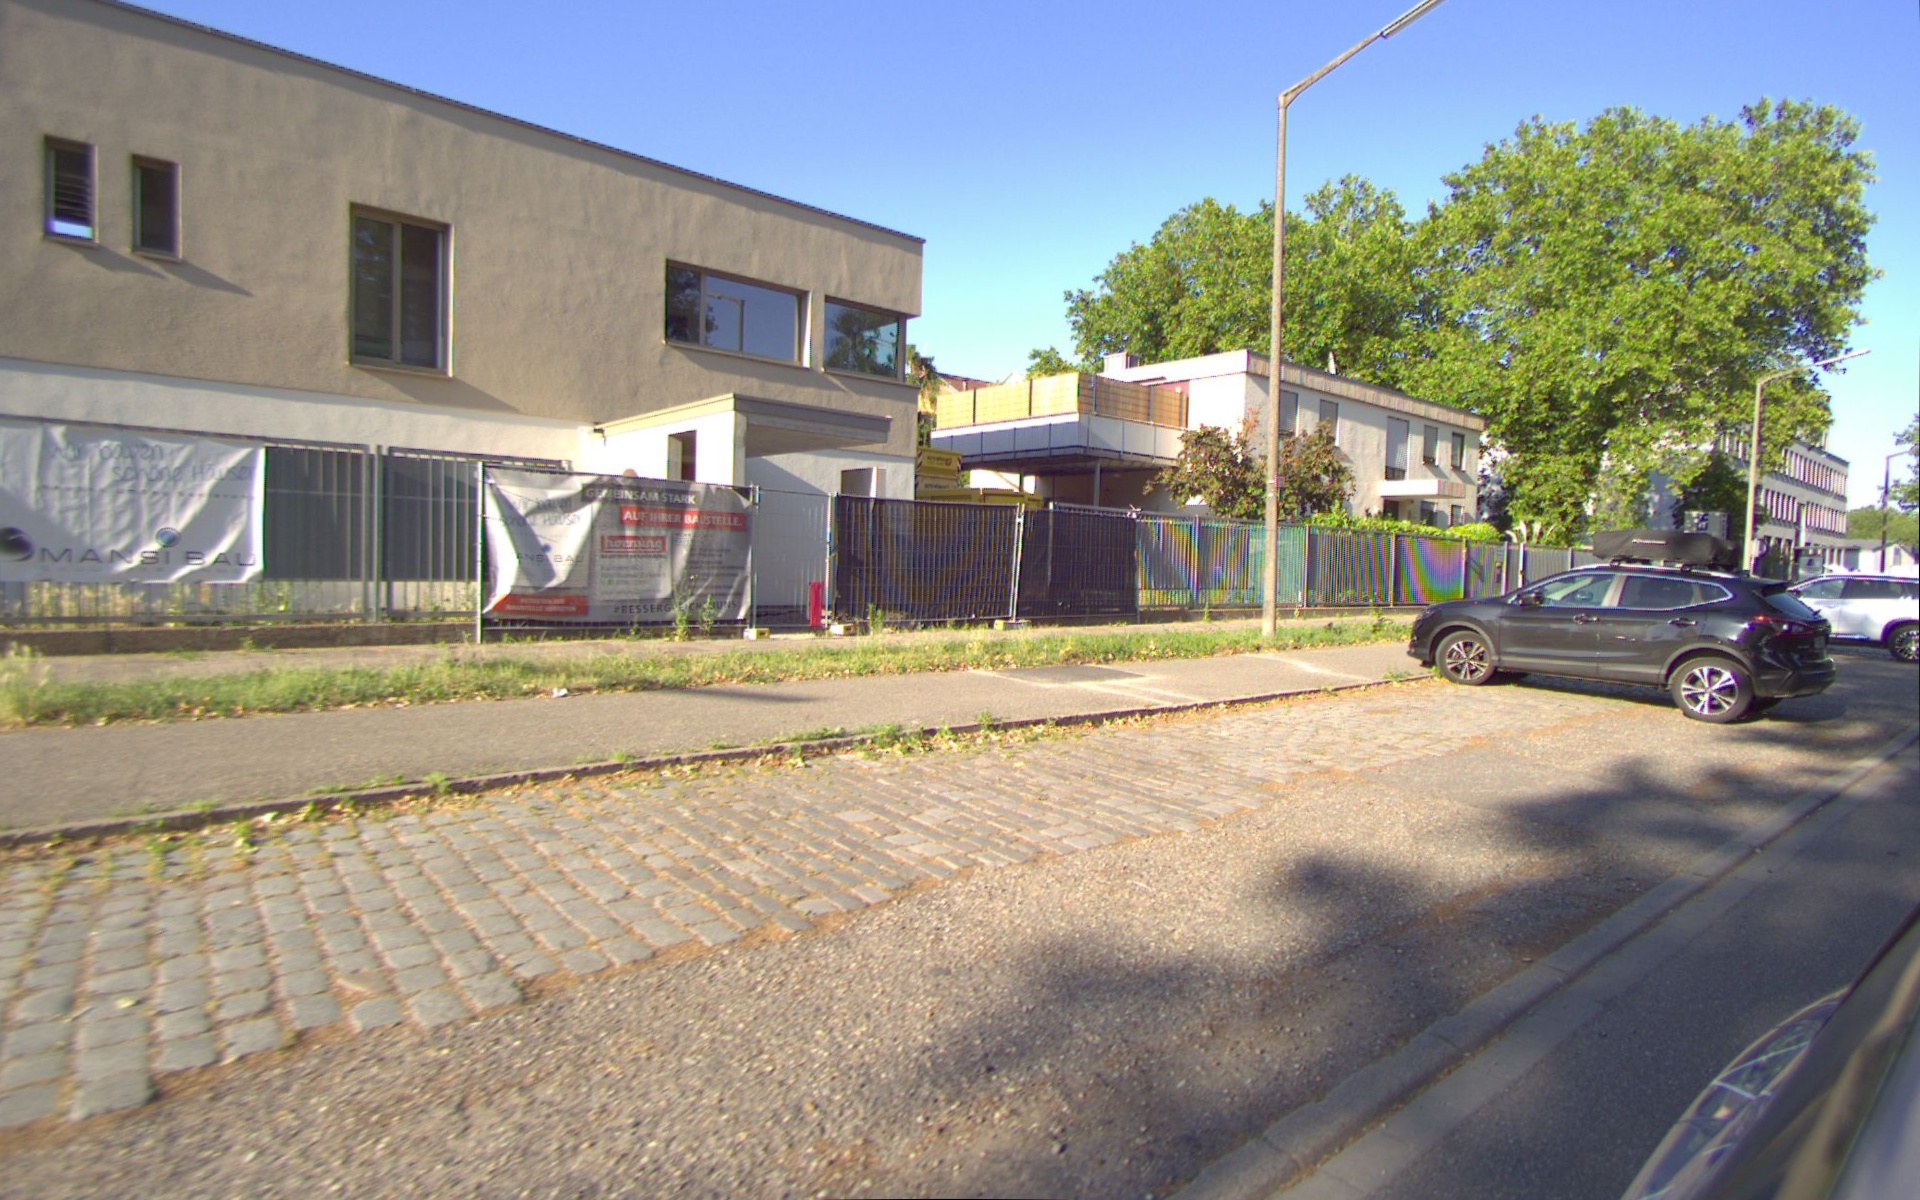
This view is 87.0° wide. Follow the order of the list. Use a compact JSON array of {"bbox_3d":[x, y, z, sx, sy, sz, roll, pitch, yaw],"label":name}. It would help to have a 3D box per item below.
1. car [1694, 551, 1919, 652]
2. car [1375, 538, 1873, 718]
[{"bbox_3d":[18.260,-0.011,20.884,1.966,1.732,4.636,-1,6,-41],"label":"car"},{"bbox_3d":[7.783,0.151,12.294,1.966,1.544,4.636,-1,6,-41],"label":"car"}]
